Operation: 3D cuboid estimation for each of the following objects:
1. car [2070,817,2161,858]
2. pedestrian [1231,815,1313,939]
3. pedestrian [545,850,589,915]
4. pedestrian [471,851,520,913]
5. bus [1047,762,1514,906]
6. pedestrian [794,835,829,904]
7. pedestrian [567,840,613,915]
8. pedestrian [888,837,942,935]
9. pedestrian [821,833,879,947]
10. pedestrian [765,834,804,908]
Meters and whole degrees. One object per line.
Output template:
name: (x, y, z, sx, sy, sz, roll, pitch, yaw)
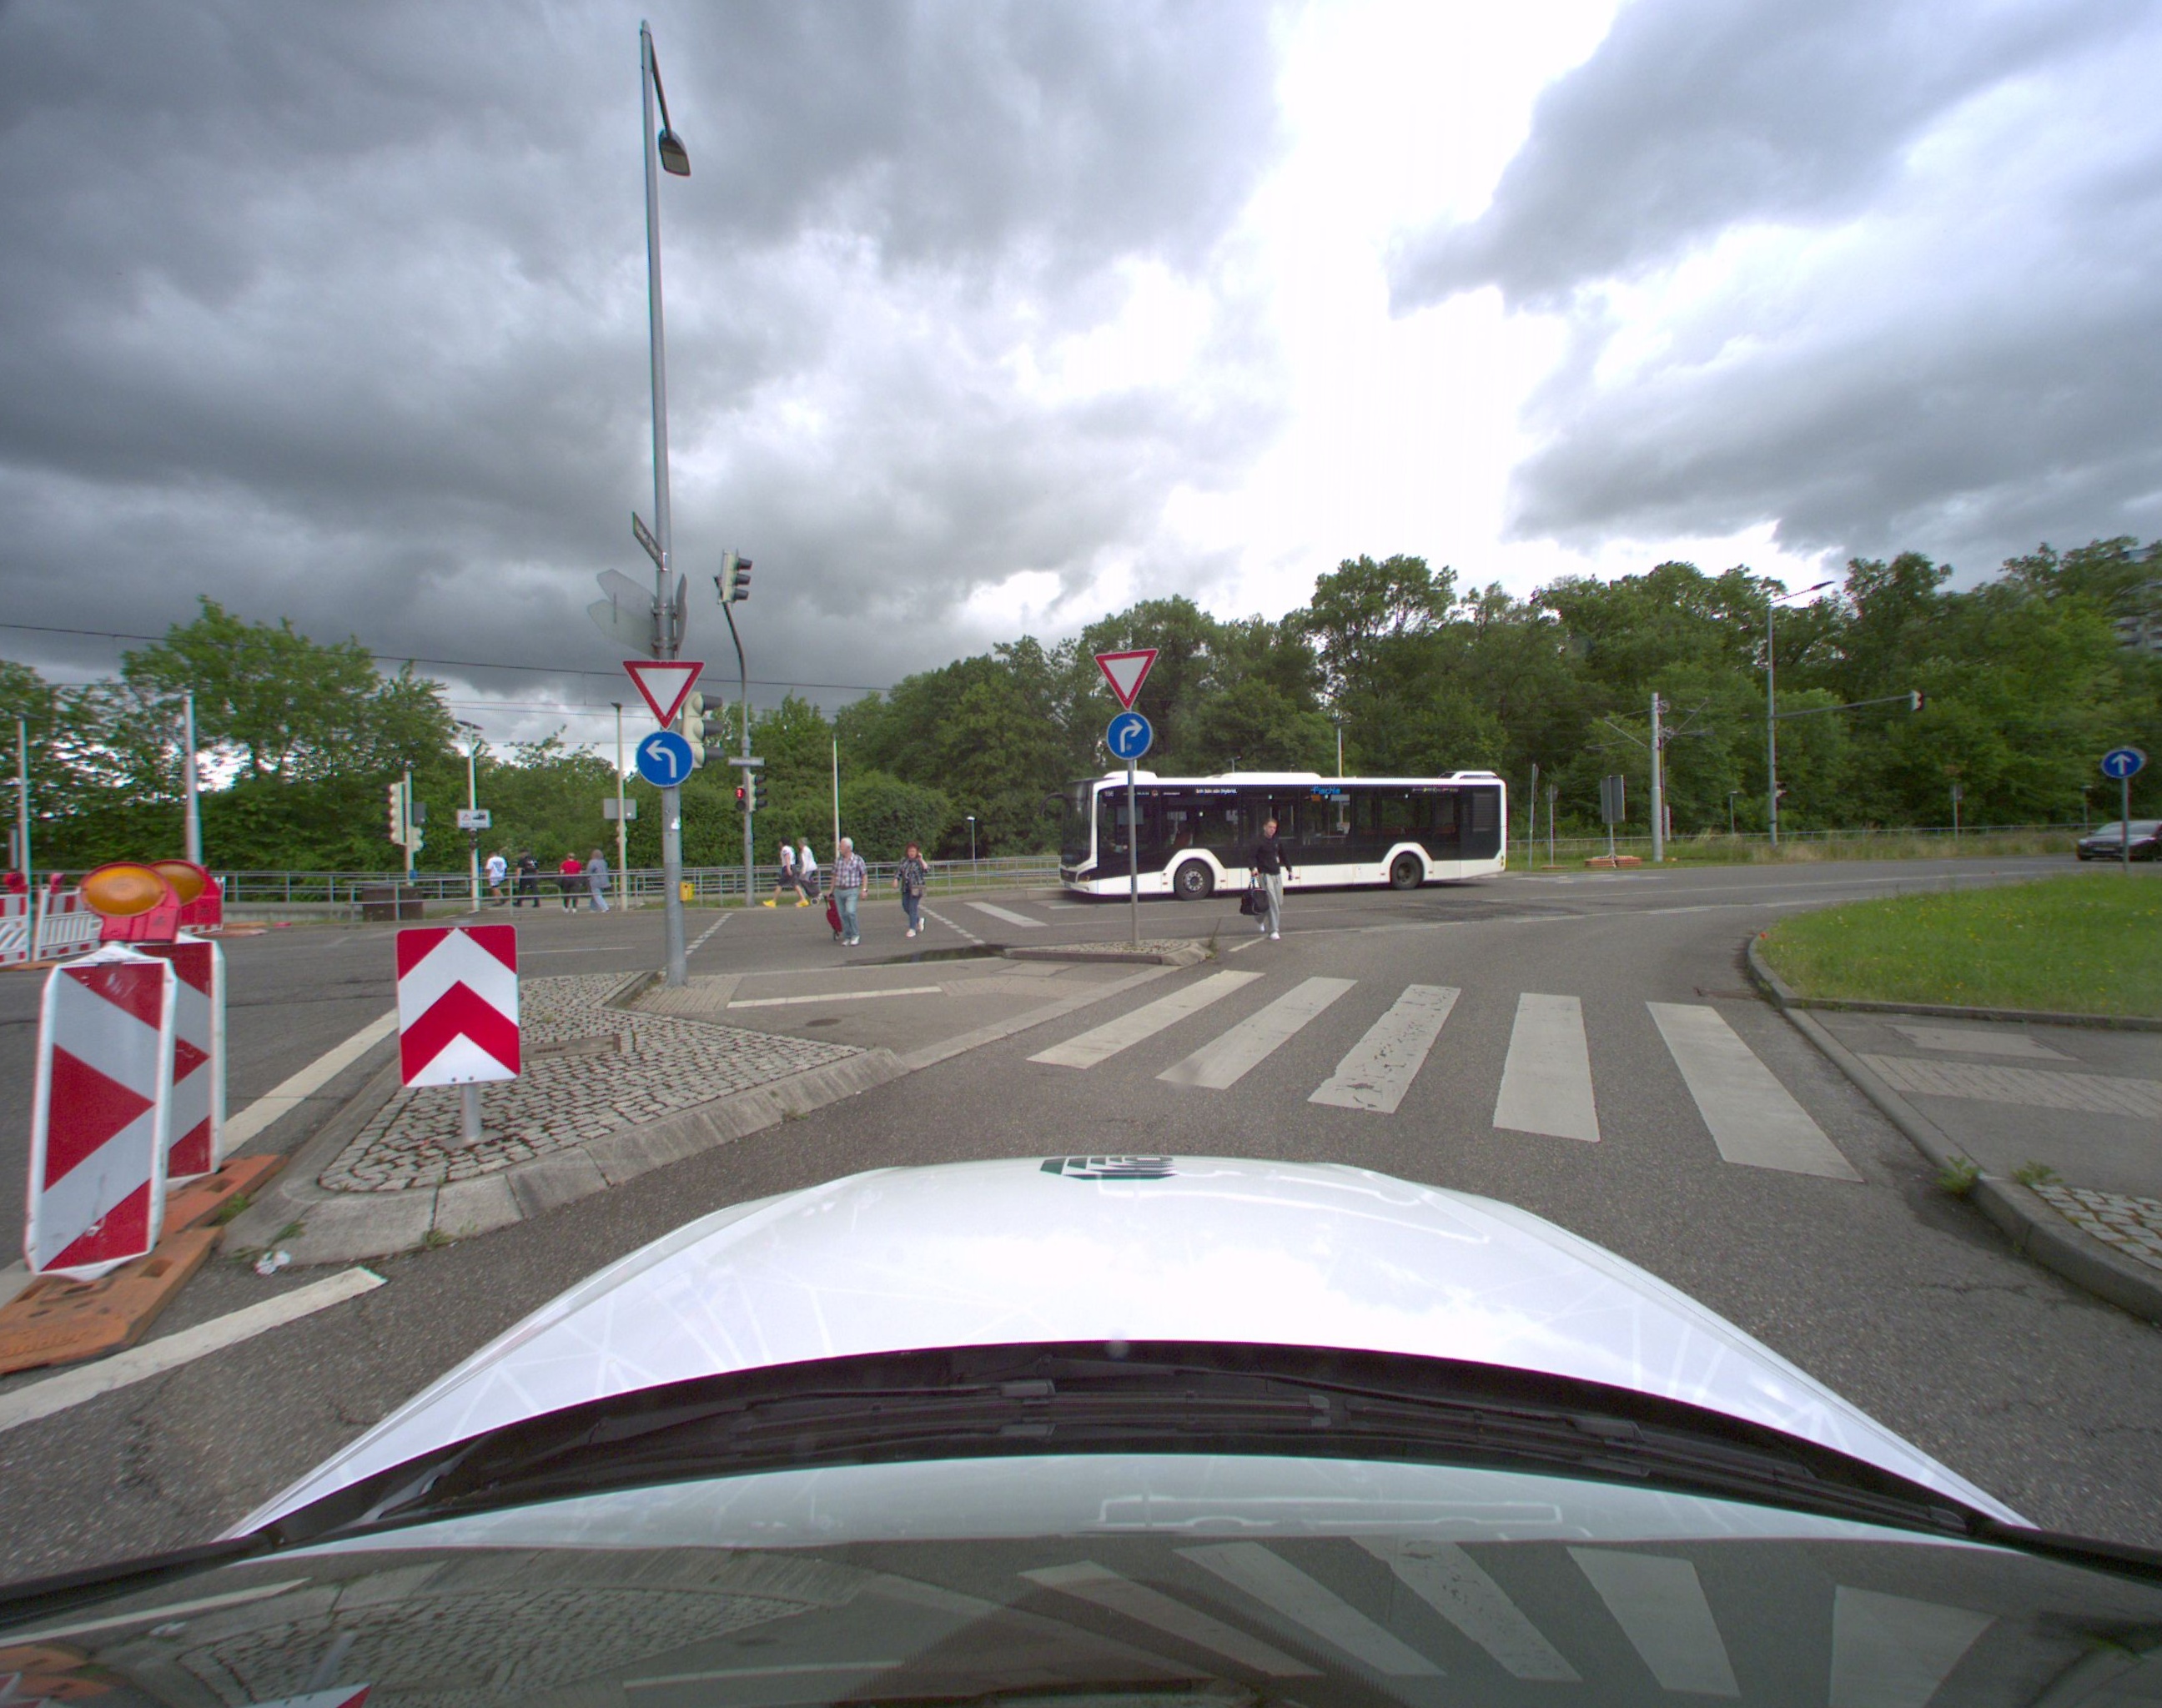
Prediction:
car: (38.500, -0.624, 29.633, 4.427, 1.434, 1.750, -2, 1, -19)
pedestrian: (2.806, 0.324, 12.071, 0.951, 1.747, 1.062, -1, 0, 1)
pedestrian: (-13.145, 0.714, 20.852, 0.722, 1.621, 0.800, -1, 0, -17)
pedestrian: (-17.033, 0.798, 23.706, 0.946, 1.747, 0.726, -1, 0, 22)
bus: (5.377, -0.643, 21.223, 12.191, 3.202, 2.659, -2, 0, -18)
pedestrian: (-6.968, 0.388, 21.078, 0.720, 1.747, 0.954, -1, 0, -12)
pedestrian: (-11.923, 0.557, 19.793, 0.722, 1.747, 0.952, -1, 0, -17)
pedestrian: (-2.753, 0.515, 13.545, 0.687, 1.567, 0.733, -1, 0, 1)
pedestrian: (-3.499, 0.524, 12.319, 0.723, 1.633, 0.694, -2, 0, -22)
pedestrian: (-7.185, 0.398, 19.776, 0.720, 1.747, 0.954, -1, 0, -12)
